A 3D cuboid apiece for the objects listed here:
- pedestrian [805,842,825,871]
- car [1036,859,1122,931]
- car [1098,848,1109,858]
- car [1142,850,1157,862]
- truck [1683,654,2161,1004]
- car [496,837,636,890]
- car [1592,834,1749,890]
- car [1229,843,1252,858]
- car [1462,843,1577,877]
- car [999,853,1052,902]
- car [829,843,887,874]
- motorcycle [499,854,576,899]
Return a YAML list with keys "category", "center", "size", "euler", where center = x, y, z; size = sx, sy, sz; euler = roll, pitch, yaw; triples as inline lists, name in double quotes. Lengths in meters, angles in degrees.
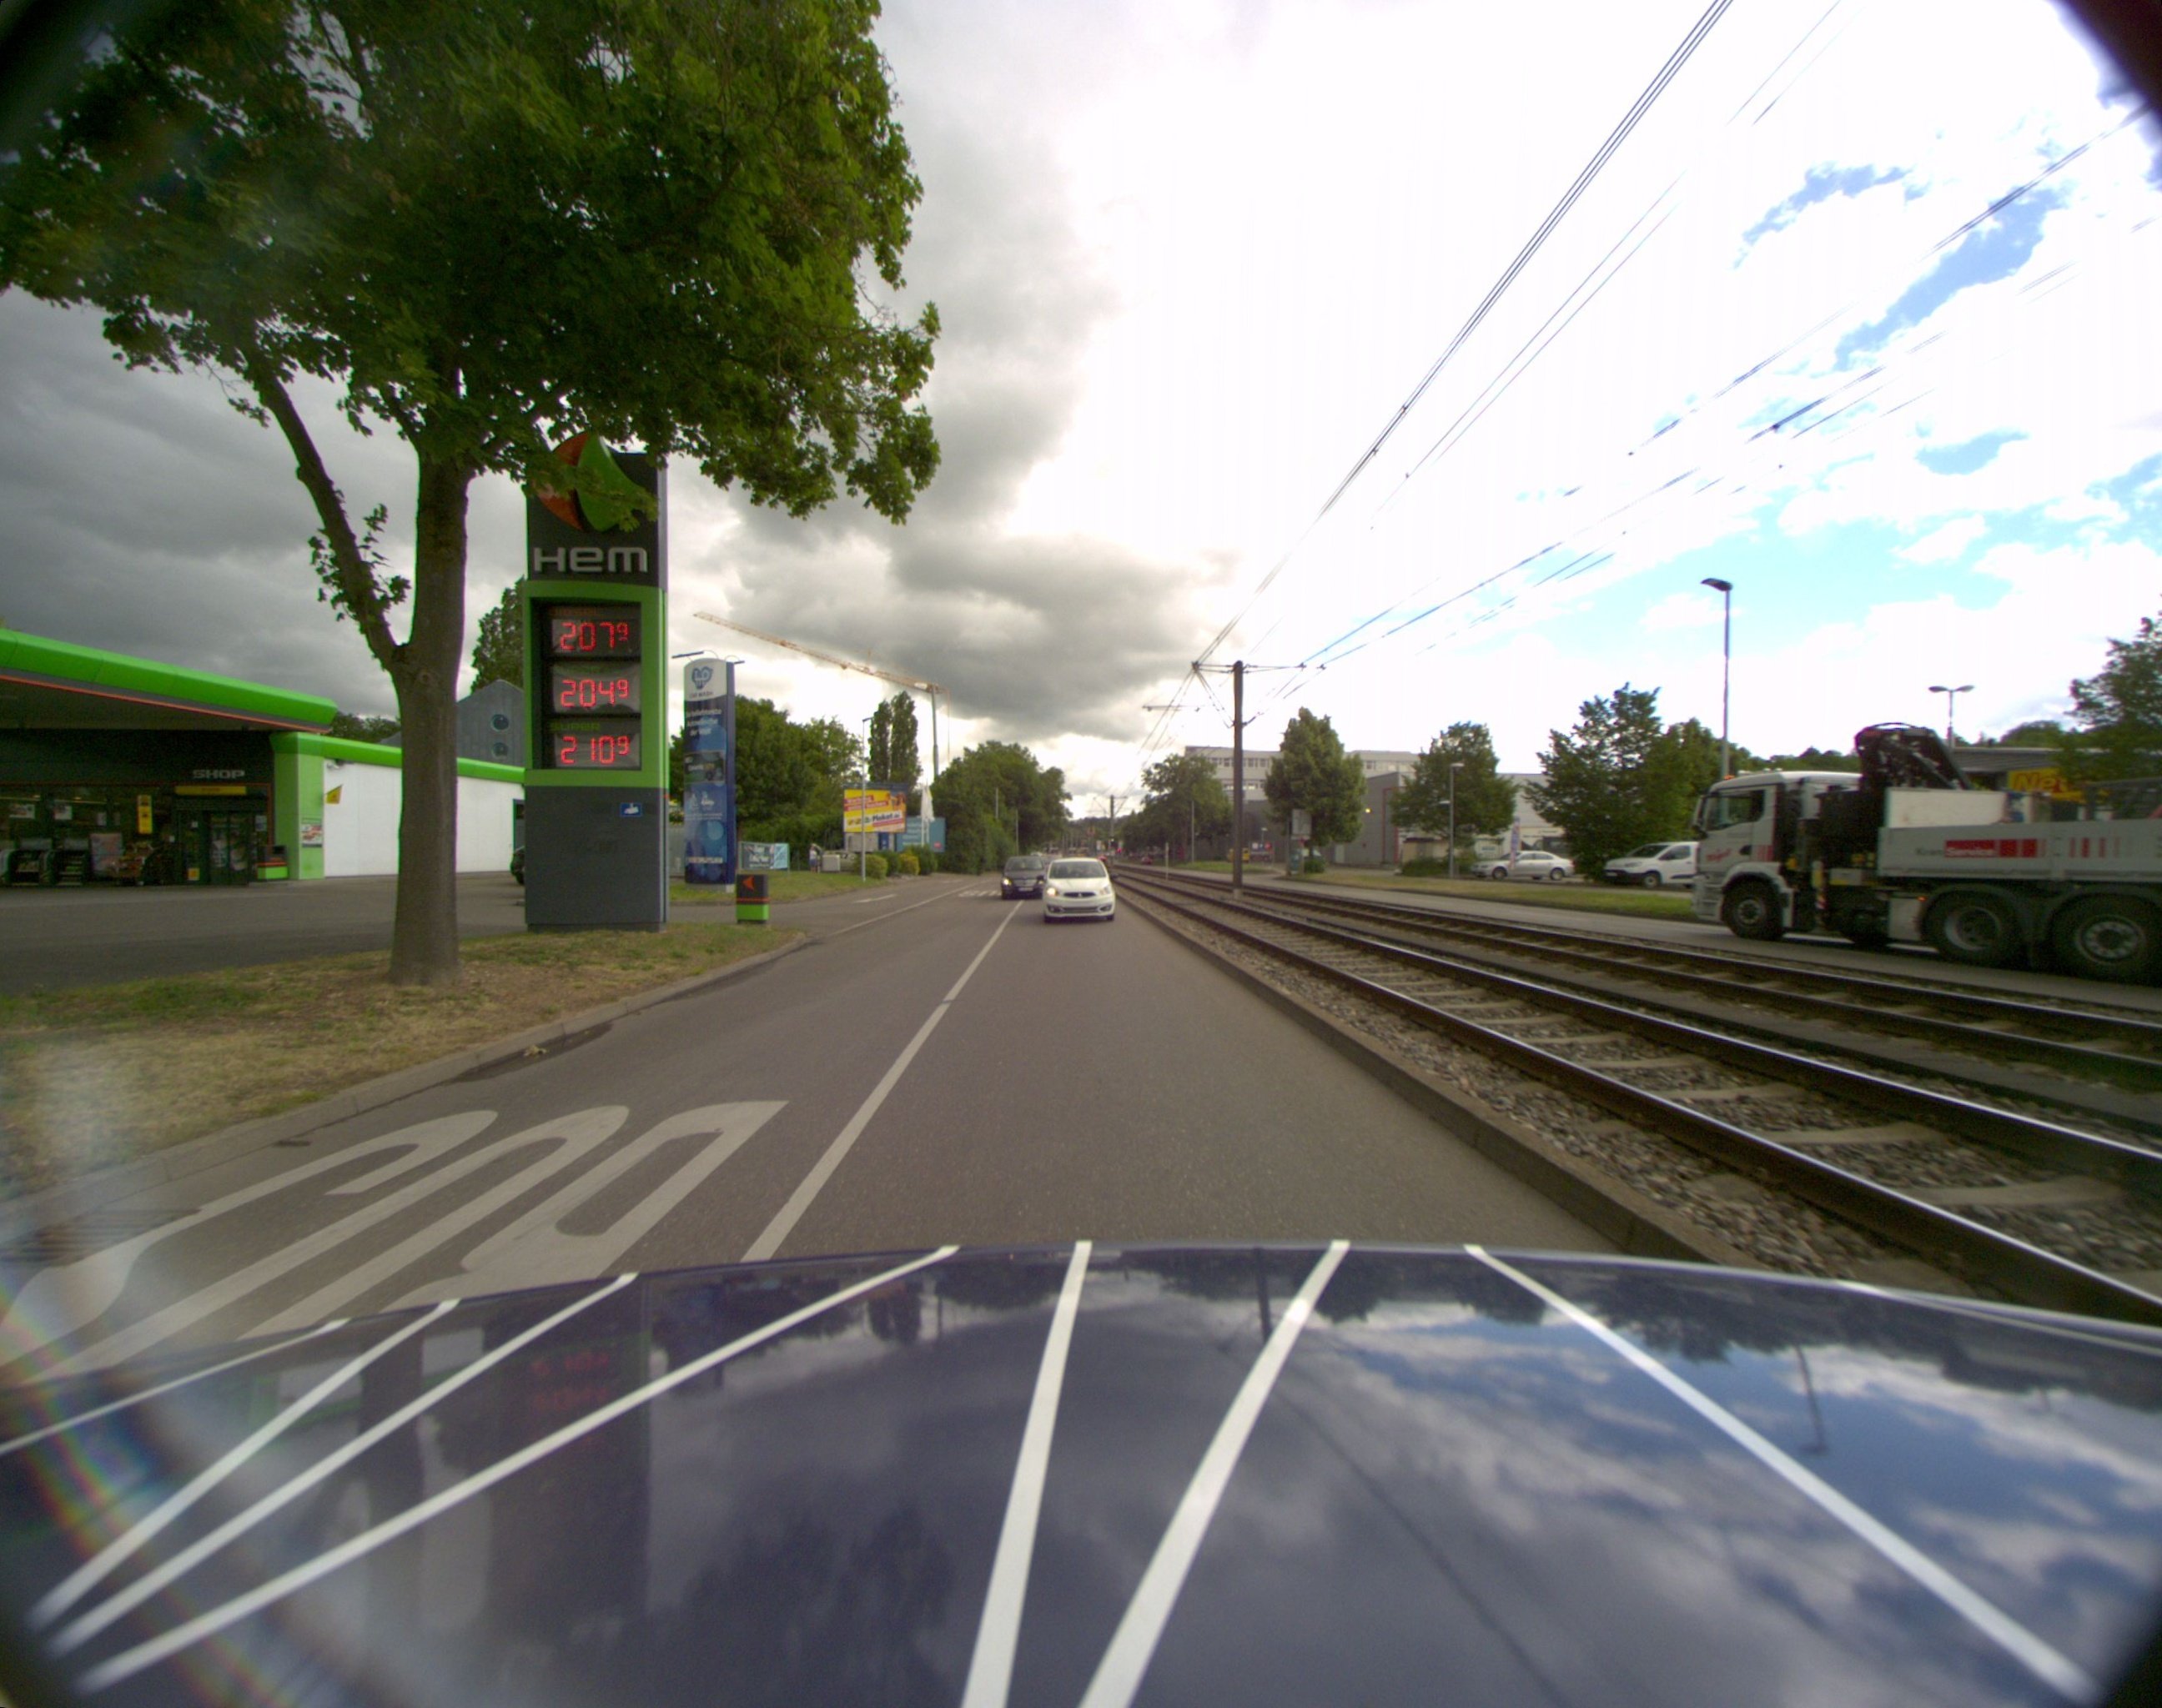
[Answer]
- category: "pedestrian"
  center: [-16.050, 0.151, 45.788]
  size: [1.043, 1.688, 1.074]
  euler: [-3, 1, -22]
- category: "car"
  center: [-0.155, 0.894, 18.482]
  size: [1.787, 1.435, 3.998]
  euler: [-2, 0, -4]
- category: "car"
  center: [4.902, -0.272, 166.887]
  size: [1.999, 2.002, 3.998]
  euler: [-2, 1, -4]
- category: "car"
  center: [12.222, 0.278, 135.642]
  size: [1.999, 2.002, 3.998]
  euler: [-2, 1, -4]
- category: "truck"
  center: [13.520, -0.272, 10.684]
  size: [2.900, 3.943, 8.628]
  euler: [1, 0, -3]
- category: "car"
  center: [-17.888, 0.280, 26.704]
  size: [1.999, 1.629, 4.325]
  euler: [3, 0, -1]
- category: "car"
  center: [22.386, 0.293, 29.000]
  size: [4.356, 1.908, 2.000]
  euler: [-2, 1, 1]
- category: "car"
  center: [21.230, -0.498, 101.235]
  size: [1.999, 2.002, 3.999]
  euler: [0, 0, -3]
- category: "car"
  center: [22.151, 0.311, 38.513]
  size: [4.612, 1.484, 2.000]
  euler: [-2, 1, 1]
- category: "car"
  center: [-2.097, 0.821, 28.698]
  size: [1.787, 1.614, 3.998]
  euler: [-2, 0, -4]
- category: "car"
  center: [-13.739, 0.261, 46.972]
  size: [3.246, 1.782, 1.543]
  euler: [-3, 1, -13]
- category: "motorcycle"
  center: [-15.063, 0.586, 21.140]
  size: [0.705, 1.180, 2.386]
  euler: [0, 0, -8]
